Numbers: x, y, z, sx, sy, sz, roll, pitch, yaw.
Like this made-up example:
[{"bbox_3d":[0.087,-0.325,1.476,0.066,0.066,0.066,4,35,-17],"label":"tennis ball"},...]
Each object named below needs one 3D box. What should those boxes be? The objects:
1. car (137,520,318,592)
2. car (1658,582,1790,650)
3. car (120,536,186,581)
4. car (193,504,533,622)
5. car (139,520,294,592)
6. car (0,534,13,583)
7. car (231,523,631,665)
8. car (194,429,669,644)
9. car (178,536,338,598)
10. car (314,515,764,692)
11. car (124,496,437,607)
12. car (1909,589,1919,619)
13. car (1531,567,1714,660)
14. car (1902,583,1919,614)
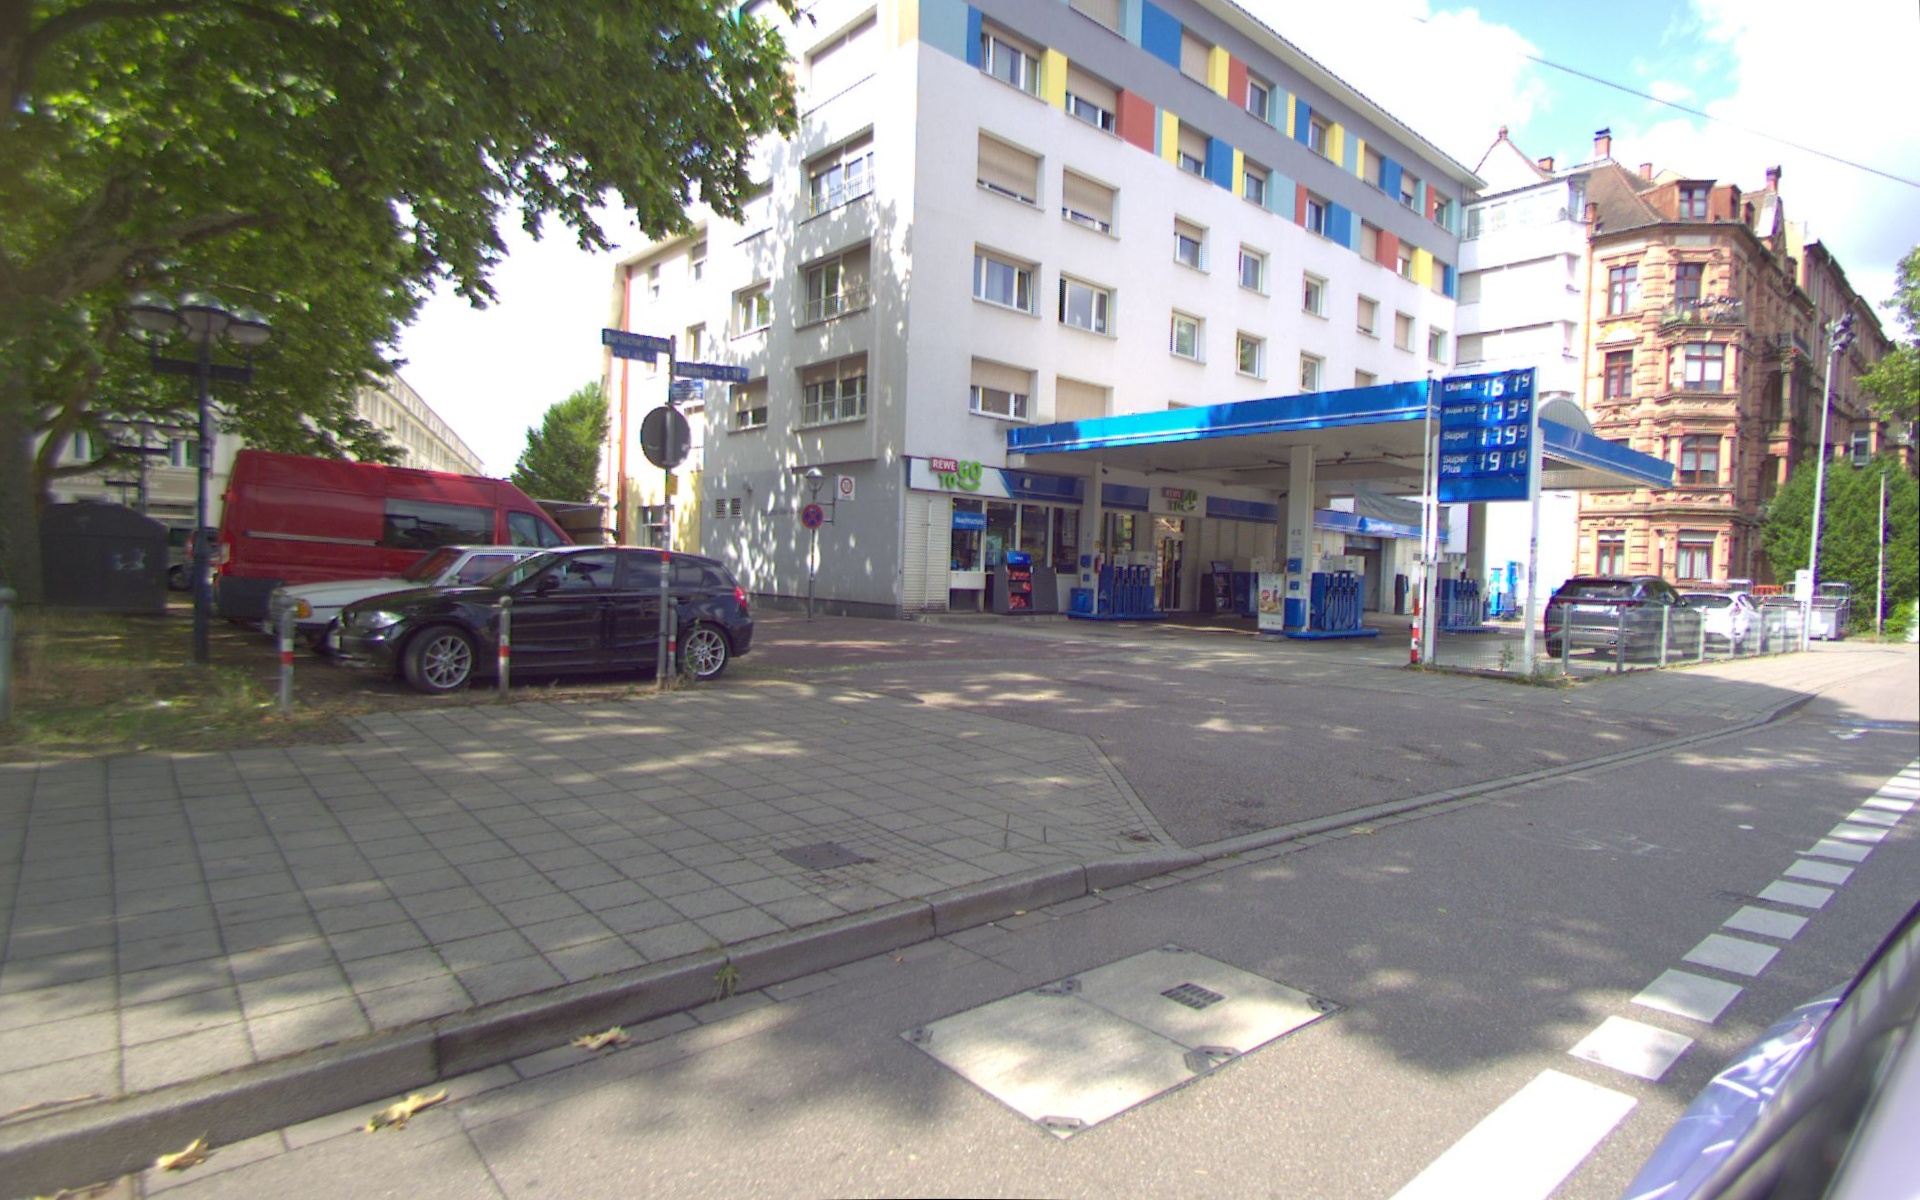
[{"bbox_3d":[-20.849,-1.199,28.886,3.980,1.843,1.824,1,1,-43],"label":"car"},{"bbox_3d":[18.640,0.358,24.636,3.932,1.473,1.809,0,2,-42],"label":"car"},{"bbox_3d":[-35.029,-1.833,44.001,2.151,1.827,4.757,1,2,-38],"label":"car"},{"bbox_3d":[-9.712,-0.532,16.653,4.568,1.671,2.011,1,1,-39],"label":"car"},{"bbox_3d":[-22.409,-1.307,30.565,3.581,2.012,1.825,0,2,-43],"label":"car"},{"bbox_3d":[-32.488,-1.408,33.095,1.965,1.543,4.162,0,2,-40],"label":"car"},{"bbox_3d":[-6.248,-0.093,12.249,3.977,1.447,1.650,0,2,-45],"label":"car"},{"bbox_3d":[-7.592,-0.795,15.006,5.911,2.614,2.117,1,2,-40],"label":"car"},{"bbox_3d":[-18.716,-0.842,27.042,3.321,1.527,1.600,1,1,-43],"label":"car"},{"bbox_3d":[-4.199,0.001,10.477,3.973,1.488,1.651,0,2,-42],"label":"car"},{"bbox_3d":[-12.351,-0.791,18.577,4.568,1.776,2.011,1,1,-39],"label":"car"},{"bbox_3d":[61.400,0.283,61.926,4.717,1.804,1.975,2,1,42],"label":"car"},{"bbox_3d":[13.208,0.228,20.072,4.501,1.622,1.810,0,1,-40],"label":"car"},{"bbox_3d":[64.676,0.087,66.033,4.393,1.962,1.955,7,5,39],"label":"car"}]
